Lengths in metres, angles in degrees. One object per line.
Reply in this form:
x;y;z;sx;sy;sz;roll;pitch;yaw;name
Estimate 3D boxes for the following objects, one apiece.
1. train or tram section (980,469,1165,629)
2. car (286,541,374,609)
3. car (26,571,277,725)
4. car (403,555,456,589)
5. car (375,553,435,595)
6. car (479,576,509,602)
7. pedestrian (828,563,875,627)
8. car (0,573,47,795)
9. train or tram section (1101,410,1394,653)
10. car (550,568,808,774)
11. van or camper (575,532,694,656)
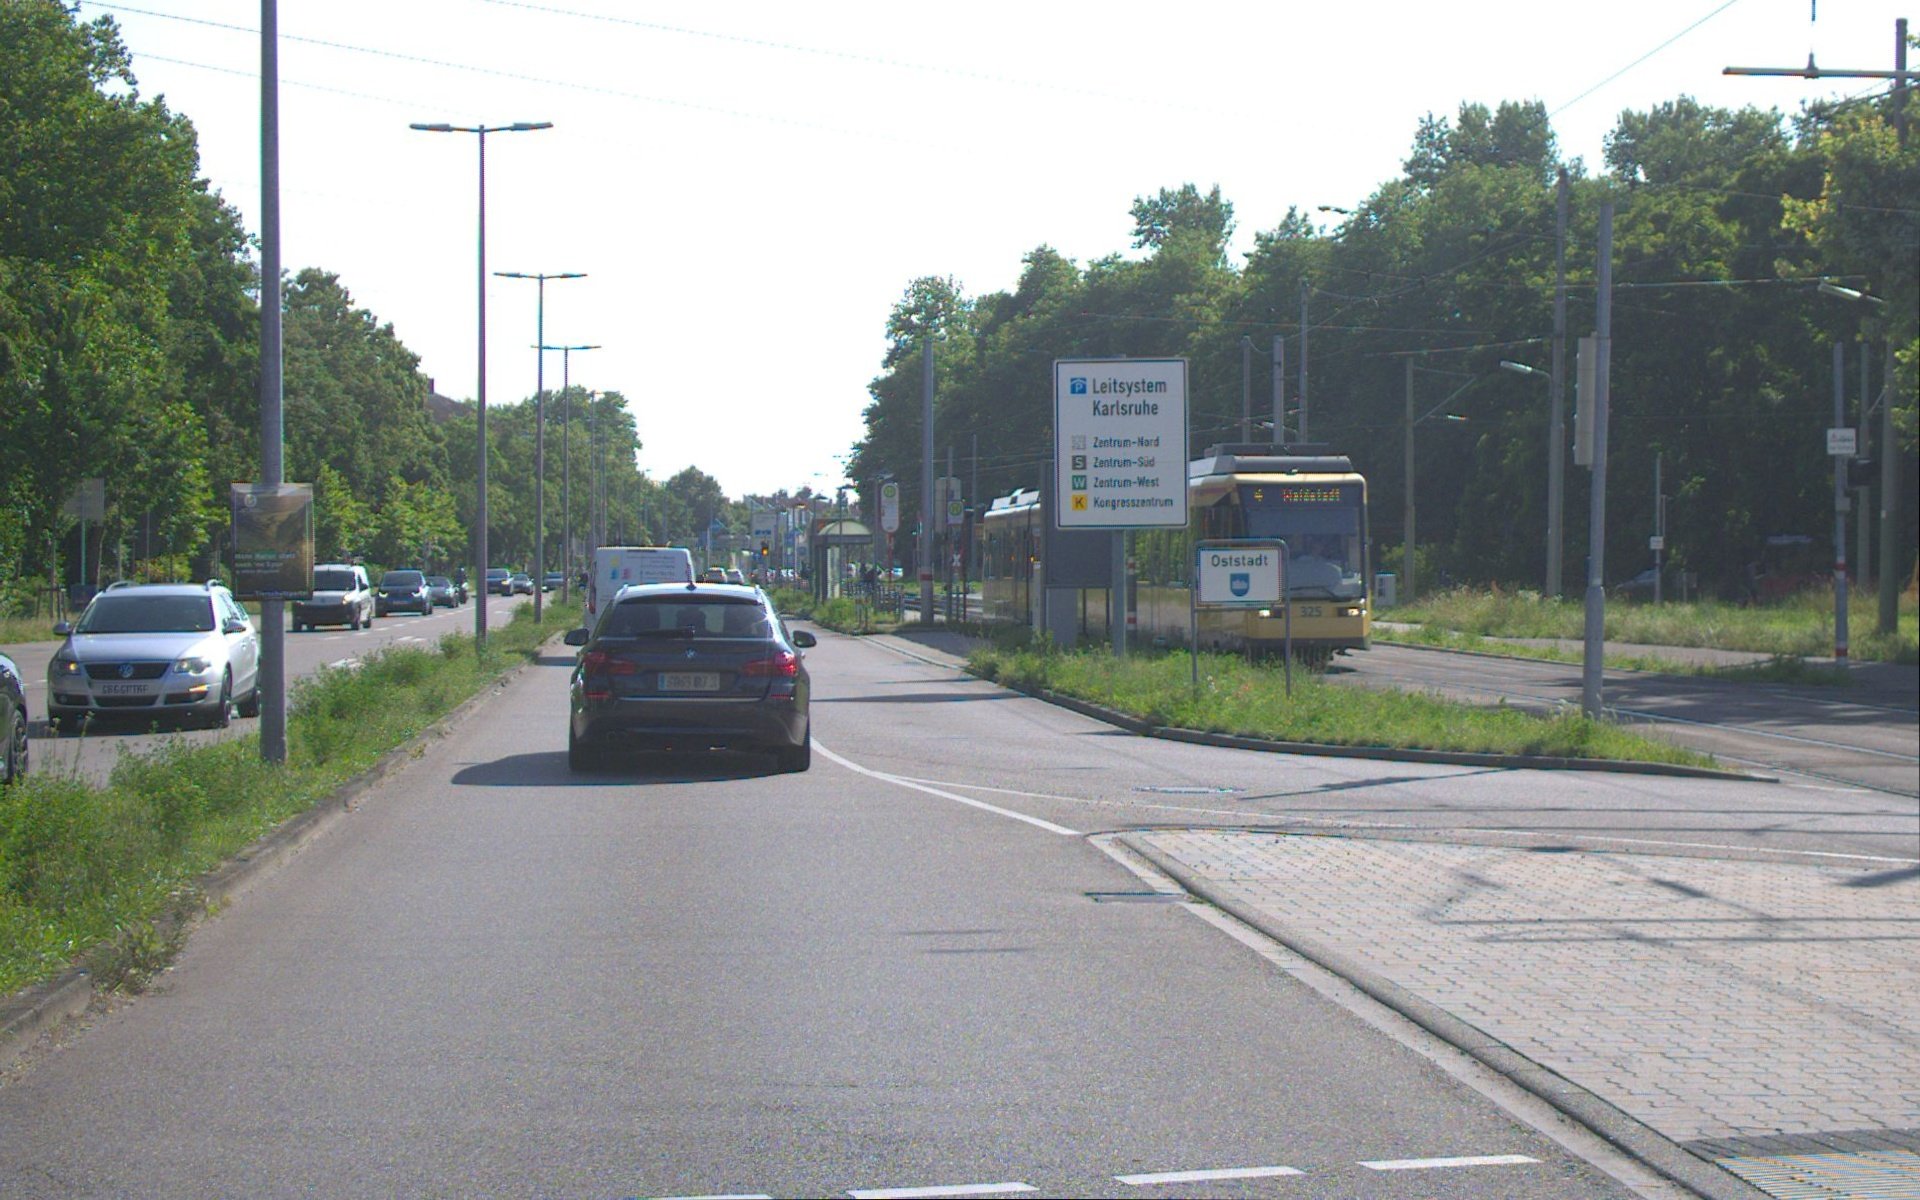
2.520;-1.157;82.987;2.684;3.469;14.972;1;0;-5;train or tram section
-16.933;-0.697;92.596;1.788;1.766;4.570;0;1;-3;car
-8.420;0.452;36.160;1.848;1.472;4.646;0;1;-4;car
-21.615;-1.139;140.197;1.788;1.323;4.737;0;1;-4;car
-19.396;-0.912;120.315;1.788;1.410;4.387;0;1;-6;car
-27.107;-0.652;200.083;1.533;1.481;4.001;0;1;-6;car
-2.792;-0.137;88.501;1.000;1.629;0.720;1;1;27;pedestrian
-7.139;0.578;21.928;1.829;1.430;4.382;-1;1;-6;car
4.573;-1.059;57.923;2.796;3.606;12.958;1;0;-5;train or tram section
-2.244;0.510;27.589;1.903;1.500;4.066;0;1;-4;car
-5.692;-0.140;60.249;1.993;2.089;4.599;0;1;-5;van or camper
